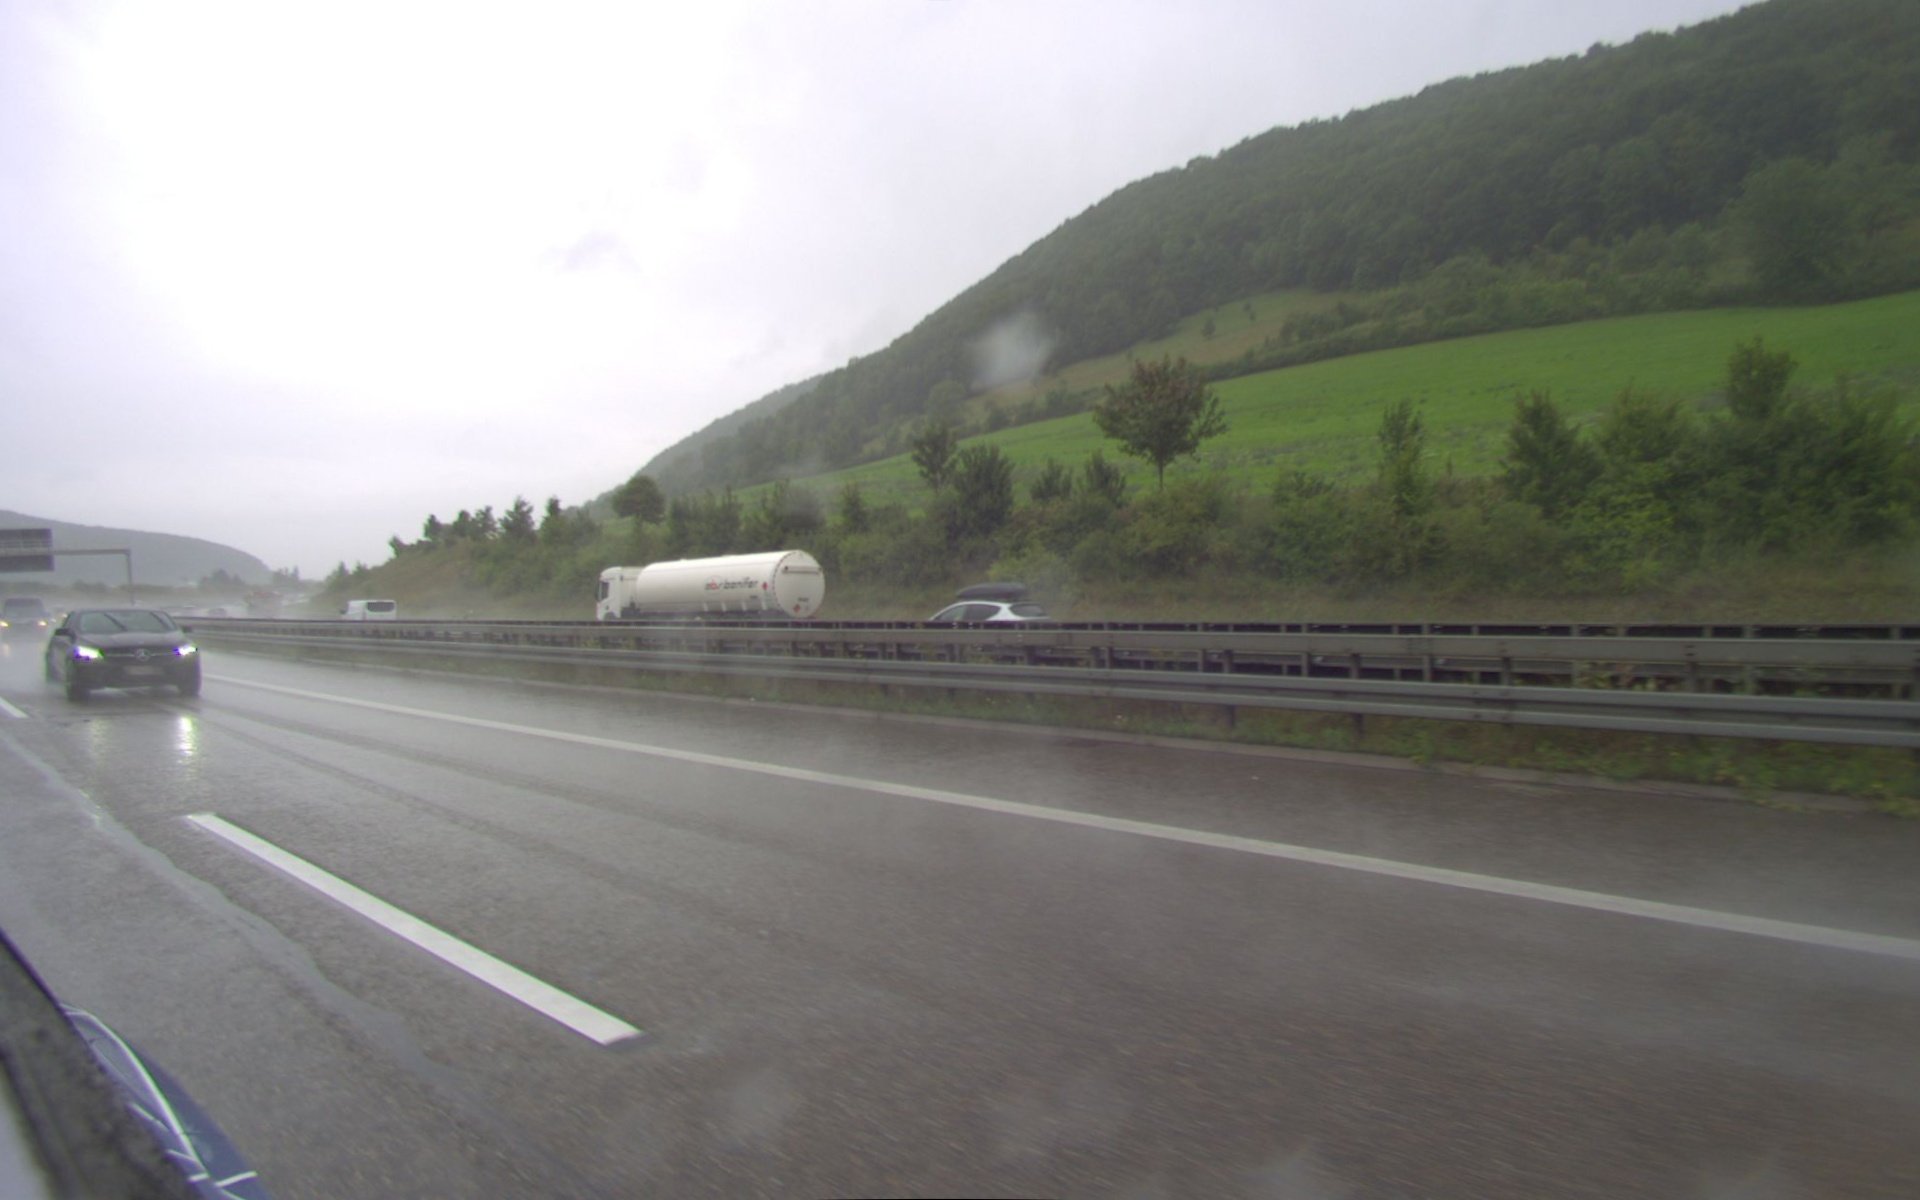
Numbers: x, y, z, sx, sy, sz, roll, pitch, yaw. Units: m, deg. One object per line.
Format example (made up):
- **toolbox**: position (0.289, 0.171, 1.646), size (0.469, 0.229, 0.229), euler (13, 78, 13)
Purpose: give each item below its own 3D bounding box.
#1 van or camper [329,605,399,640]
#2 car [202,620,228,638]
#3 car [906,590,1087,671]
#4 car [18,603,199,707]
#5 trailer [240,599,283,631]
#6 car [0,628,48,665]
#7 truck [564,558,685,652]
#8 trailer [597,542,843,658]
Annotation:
- **van or camper**: position (-34.080, 1.279, 57.849), size (5.345, 1.892, 1.972), euler (-1, -1, 42)
- **car**: position (-88.099, 3.439, 119.709), size (1.891, 2.029, 4.003), euler (-1, 0, -44)
- **car**: position (0.809, 0.698, 23.974), size (4.002, 1.747, 1.971), euler (-1, -1, 44)
- **car**: position (-16.181, 0.950, 19.197), size (3.742, 1.715, 1.794), euler (0, 2, 37)
- **trailer**: position (-80.178, 1.688, 116.043), size (2.688, 3.517, 9.404), euler (-1, 0, -43)
- **car**: position (-54.419, 2.672, 58.650), size (3.933, 2.029, 1.961), euler (-2, -1, 43)
- **truck**: position (-14.676, 0.251, 44.125), size (5.316, 3.831, 2.852), euler (-1, -1, 43)
- **trailer**: position (-9.772, 0.096, 39.524), size (12.569, 3.932, 2.901), euler (-1, -1, 43)
